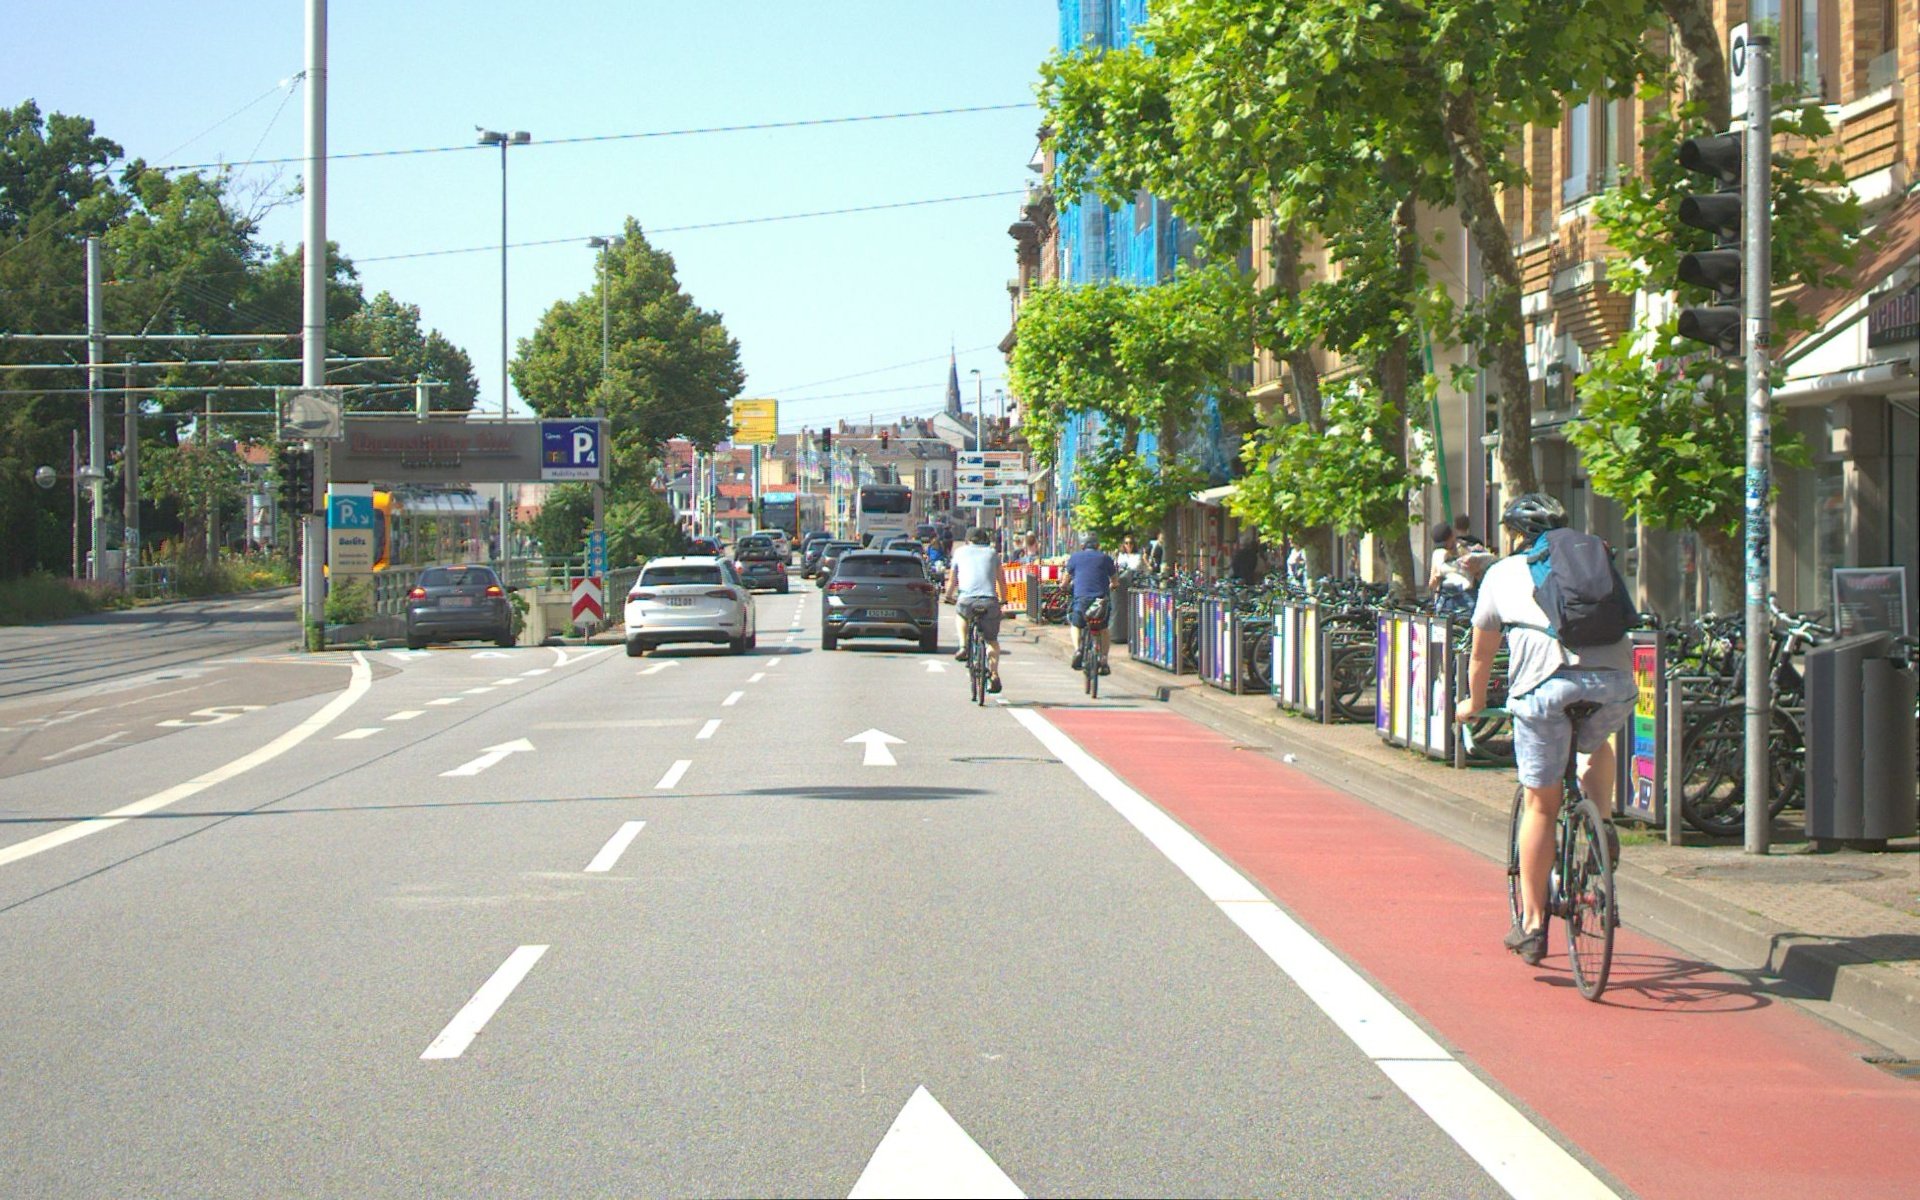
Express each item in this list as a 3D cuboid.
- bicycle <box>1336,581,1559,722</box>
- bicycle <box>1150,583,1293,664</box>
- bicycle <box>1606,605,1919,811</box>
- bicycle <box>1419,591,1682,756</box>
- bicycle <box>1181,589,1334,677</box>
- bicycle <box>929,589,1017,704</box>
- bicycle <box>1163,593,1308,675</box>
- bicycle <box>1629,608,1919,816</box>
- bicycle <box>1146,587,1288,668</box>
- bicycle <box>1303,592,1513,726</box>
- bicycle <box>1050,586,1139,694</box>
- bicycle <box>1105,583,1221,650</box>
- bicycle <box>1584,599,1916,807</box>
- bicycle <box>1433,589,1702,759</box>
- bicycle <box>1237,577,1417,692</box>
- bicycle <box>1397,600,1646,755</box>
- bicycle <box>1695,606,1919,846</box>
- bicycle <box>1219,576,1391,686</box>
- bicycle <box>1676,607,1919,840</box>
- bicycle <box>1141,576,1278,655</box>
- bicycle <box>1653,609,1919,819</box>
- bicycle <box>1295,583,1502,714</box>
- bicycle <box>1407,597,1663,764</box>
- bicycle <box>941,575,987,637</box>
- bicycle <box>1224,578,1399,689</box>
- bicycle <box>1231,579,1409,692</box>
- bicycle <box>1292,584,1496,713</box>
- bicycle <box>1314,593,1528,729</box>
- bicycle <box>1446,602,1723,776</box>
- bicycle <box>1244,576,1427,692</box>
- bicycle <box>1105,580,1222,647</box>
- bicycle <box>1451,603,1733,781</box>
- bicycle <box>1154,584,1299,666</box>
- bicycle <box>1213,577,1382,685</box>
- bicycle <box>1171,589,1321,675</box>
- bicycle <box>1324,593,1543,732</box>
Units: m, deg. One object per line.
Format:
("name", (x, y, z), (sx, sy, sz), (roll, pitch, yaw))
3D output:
("bicycle", (4.021, 0.422, 28.401), (1.752, 1.143, 0.499), (0, 0, -4))
("bicycle", (3.323, 0.294, 43.699), (1.752, 1.014, 0.483), (0, 0, -4))
("bicycle", (4.483, 0.589, 18.908), (1.752, 1.101, 0.483), (0, 0, -4))
("bicycle", (4.163, 0.515, 24.262), (1.752, 1.143, 0.483), (0, 0, -4))
("bicycle", (3.535, 0.390, 40.879), (1.752, 1.014, 0.483), (0, 0, -4))
("bicycle", (0.121, 0.455, 34.688), (0.734, 1.089, 1.898), (2, 1, -3))
("bicycle", (3.390, 0.420, 42.362), (1.717, 0.981, 0.483), (0, 1, -4))
("bicycle", (4.515, 0.592, 18.407), (1.752, 1.084, 0.483), (0, 0, -4))
("bicycle", (3.303, 0.352, 44.225), (1.752, 1.014, 0.483), (0, 0, -4))
("bicycle", (3.899, 0.512, 29.969), (1.752, 1.143, 0.483), (0, 0, -4))
("bicycle", (1.433, 0.418, 36.952), (0.734, 1.089, 1.911), (2, 1, -3))
("bicycle", (3.160, 0.253, 53.616), (1.752, 1.014, 0.483), (0, 0, -4))
("bicycle", (4.452, 0.577, 19.417), (1.752, 1.143, 0.483), (0, 0, -4))
("bicycle", (4.185, 0.507, 23.717), (1.752, 1.143, 0.483), (0, 0, -4))
("bicycle", (3.734, 0.351, 35.001), (1.752, 1.143, 0.483), (0, 0, -4))
("bicycle", (4.159, 0.571, 25.511), (1.752, 1.119, 0.483), (0, 0, -4))
("bicycle", (4.521, 0.610, 16.763), (1.752, 1.143, 0.483), (0, 0, -4))
("bicycle", (3.658, 0.328, 36.466), (1.752, 1.143, 0.483), (0, 0, -4))
("bicycle", (4.547, 0.619, 17.348), (1.752, 1.143, 0.483), (0, 0, -4))
("bicycle", (3.287, 0.202, 45.338), (1.752, 1.014, 0.483), (0, 0, -4))
("bicycle", (4.539, 0.588, 17.904), (1.752, 1.065, 0.483), (0, 0, -4))
("bicycle", (3.881, 0.426, 30.474), (1.752, 1.143, 0.483), (0, 0, -4))
("bicycle", (4.163, 0.578, 24.917), (1.752, 1.183, 0.483), (0, 0, -4))
("bicycle", (0.063, 0.109, 63.073), (0.734, 1.089, 1.898), (2, 1, -2))
("bicycle", (3.676, 0.345, 35.977), (1.752, 1.143, 0.483), (0, 0, -4))
("bicycle", (3.710, 0.359, 35.479), (1.752, 1.143, 0.483), (0, 0, -4))
("bicycle", (3.903, 0.432, 30.977), (1.752, 1.143, 0.483), (0, 0, -4))
("bicycle", (3.946, 0.522, 29.476), (1.752, 1.143, 0.483), (0, 0, -4))
("bicycle", (4.201, 0.594, 23.181), (1.752, 1.143, 0.527), (0, 0, -4))
("bicycle", (3.765, 0.341, 34.495), (1.752, 1.143, 0.483), (0, 0, -4))
("bicycle", (3.140, 0.205, 53.050), (1.752, 1.014, 0.483), (0, 0, -4))
("bicycle", (4.151, 0.600, 22.626), (1.752, 1.143, 0.483), (0, 1, -4))
("bicycle", (3.340, 0.310, 43.097), (1.752, 1.014, 0.483), (0, 0, -4))
("bicycle", (3.624, 0.327, 36.959), (1.752, 1.143, 0.483), (0, 0, -4))
("bicycle", (3.452, 0.381, 41.582), (1.752, 1.014, 0.483), (0, 0, -4))
("bicycle", (3.987, 0.525, 28.982), (1.752, 1.143, 0.483), (0, 0, -4))
